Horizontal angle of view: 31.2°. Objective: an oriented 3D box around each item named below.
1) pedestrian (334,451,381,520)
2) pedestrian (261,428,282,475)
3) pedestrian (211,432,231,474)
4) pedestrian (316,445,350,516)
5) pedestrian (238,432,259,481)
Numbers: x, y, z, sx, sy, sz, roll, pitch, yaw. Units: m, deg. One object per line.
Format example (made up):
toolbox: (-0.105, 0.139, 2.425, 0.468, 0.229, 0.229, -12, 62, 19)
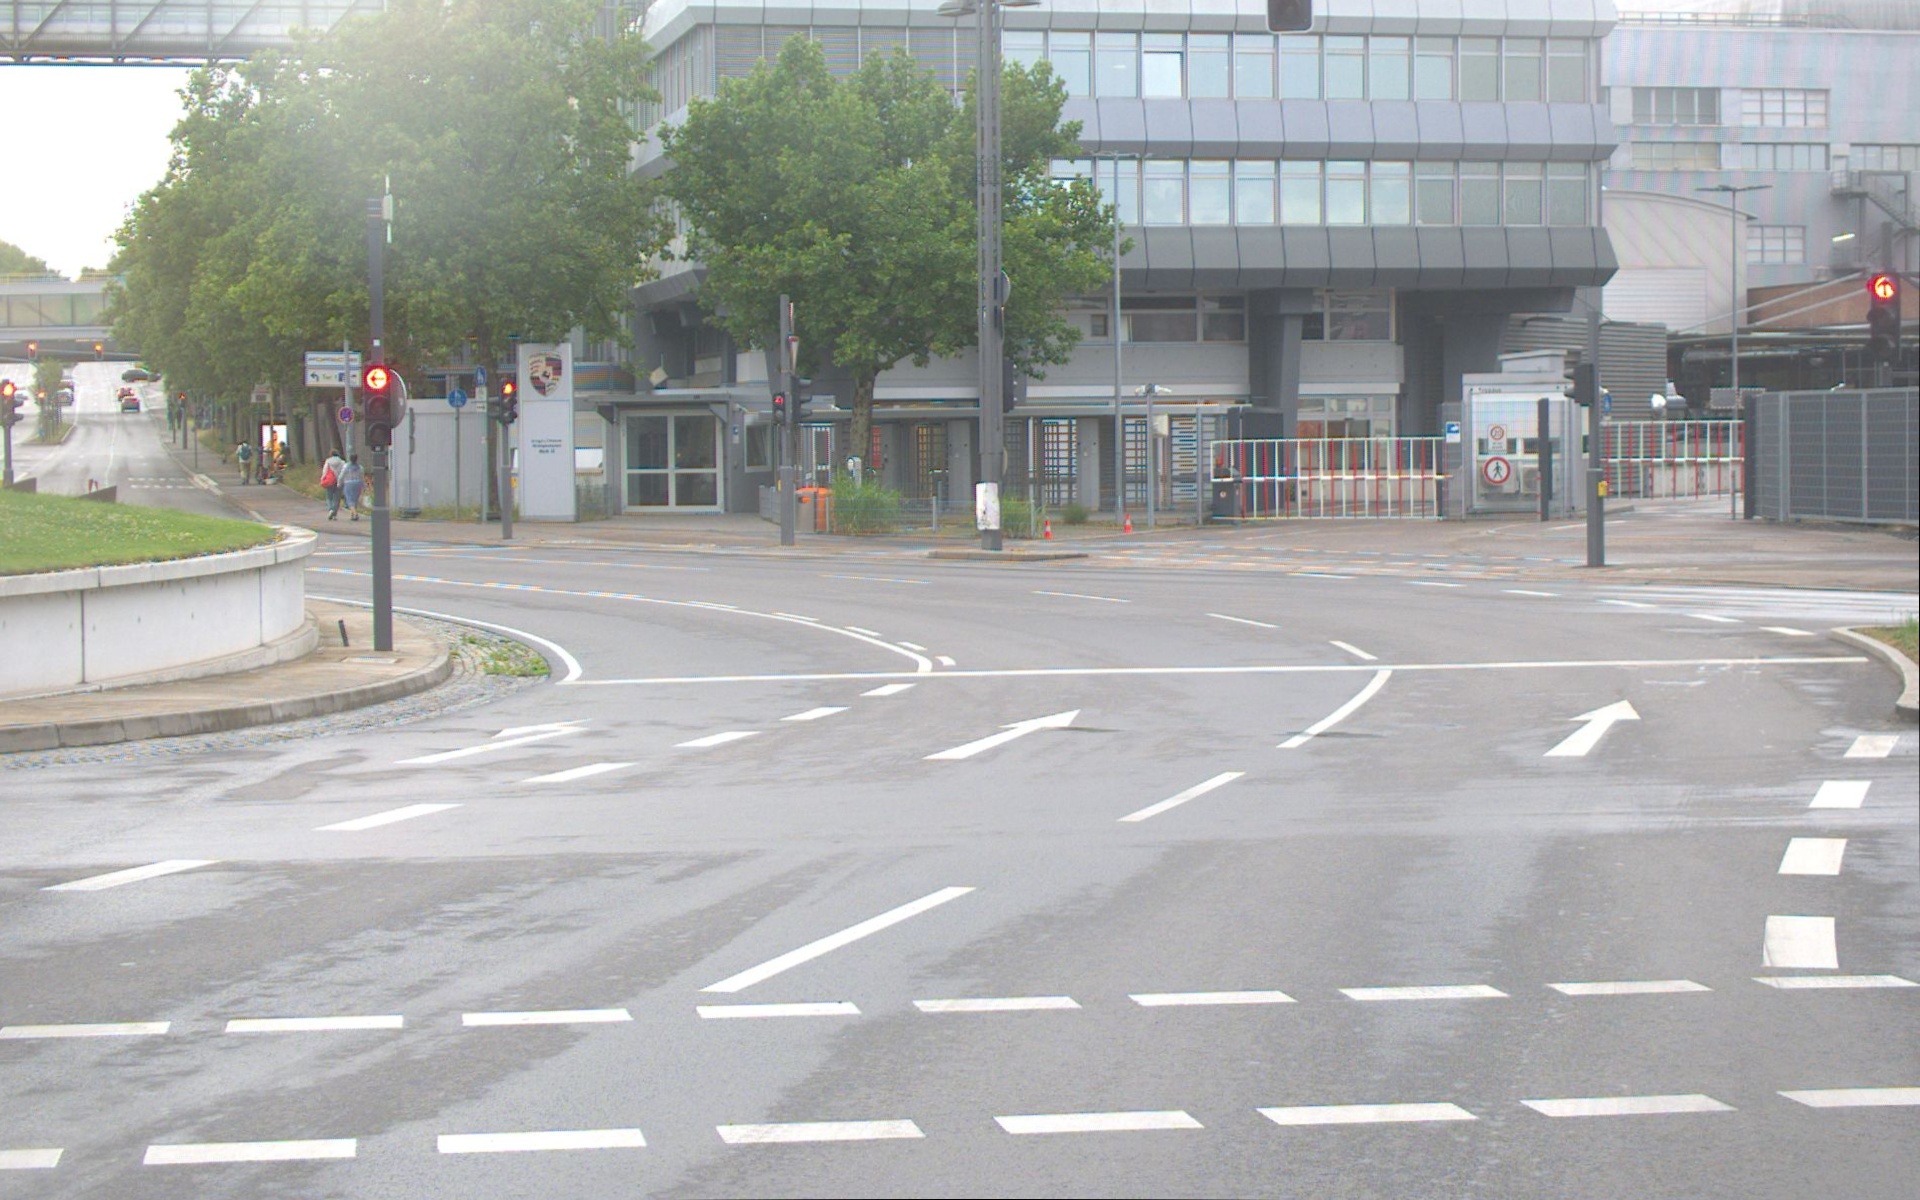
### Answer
pedestrian: (-13.507, -2.578, 77.073, 0.831, 1.515, 0.842, -2, 3, -23)
pedestrian: (-26.069, -5.630, 130.189, 0.757, 1.734, 0.714, 1, 0, -10)
pedestrian: (-35.676, -7.107, 165.921, 0.765, 2.006, 0.692, 0, 2, 3)
pedestrian: (-14.248, -2.712, 78.125, 0.709, 1.586, 0.841, -1, 3, -9)
pedestrian: (-25.786, -5.210, 124.636, 0.711, 1.734, 0.760, 1, 0, -14)
